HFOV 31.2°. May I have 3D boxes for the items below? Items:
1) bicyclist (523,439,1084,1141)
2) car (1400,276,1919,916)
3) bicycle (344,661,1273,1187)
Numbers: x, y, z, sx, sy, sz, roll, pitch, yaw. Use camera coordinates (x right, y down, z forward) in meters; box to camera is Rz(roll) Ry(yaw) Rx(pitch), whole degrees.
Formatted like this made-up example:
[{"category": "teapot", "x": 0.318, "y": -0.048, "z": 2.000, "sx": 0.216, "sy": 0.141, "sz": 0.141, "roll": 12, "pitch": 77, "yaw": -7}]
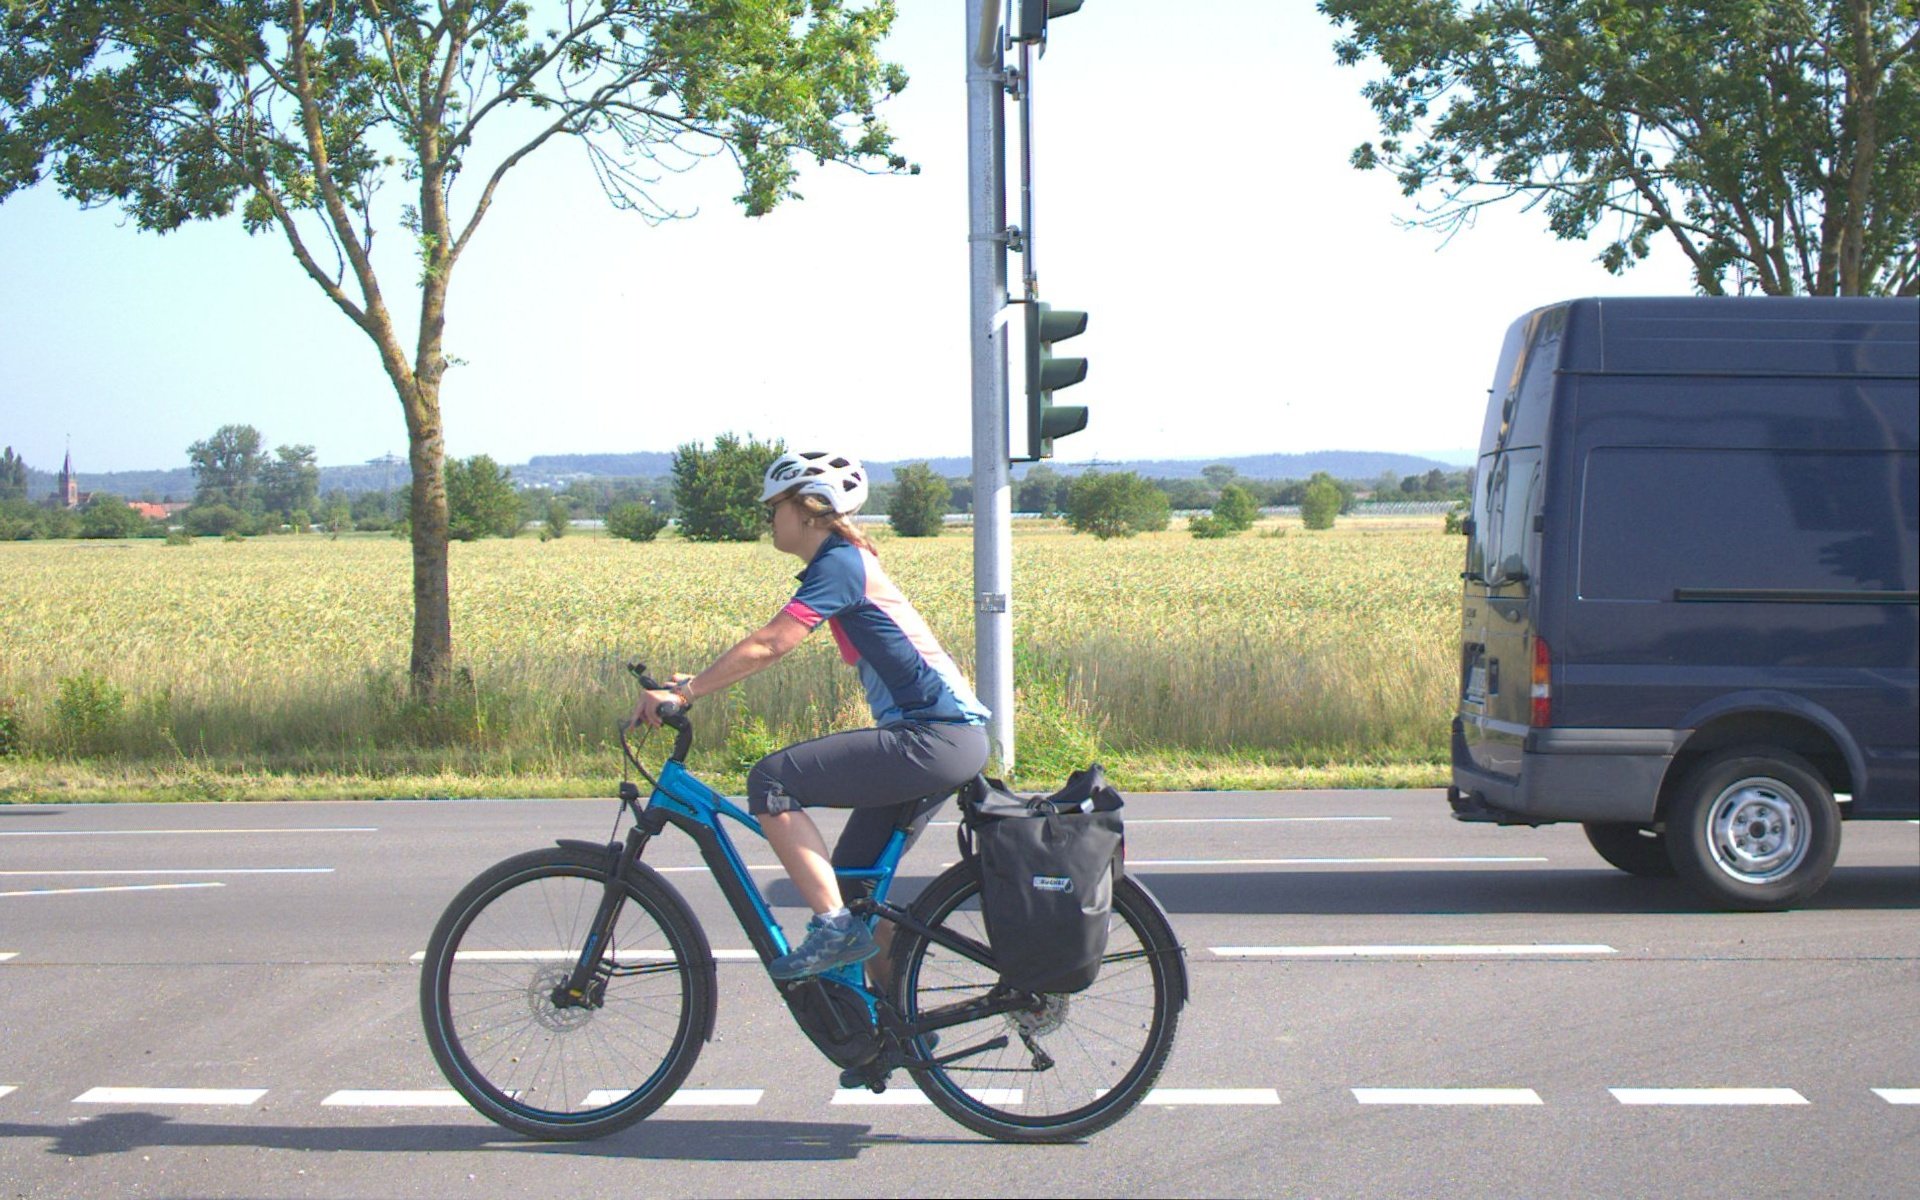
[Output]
[{"category": "bicyclist", "x": -0.405, "y": 0.413, "z": 8.439, "sx": 1.278, "sy": 1.596, "sz": 1.166, "roll": 0, "pitch": 2, "yaw": -5}, {"category": "car", "x": 4.967, "y": -0.047, "z": 15.176, "sx": 5.730, "sy": 2.613, "sz": 2.034, "roll": 0, "pitch": 1, "yaw": -3}, {"category": "bicycle", "x": -0.379, "y": 0.753, "z": 8.426, "sx": 2.155, "sy": 1.182, "sz": 0.890, "roll": 0, "pitch": 0, "yaw": -5}]
